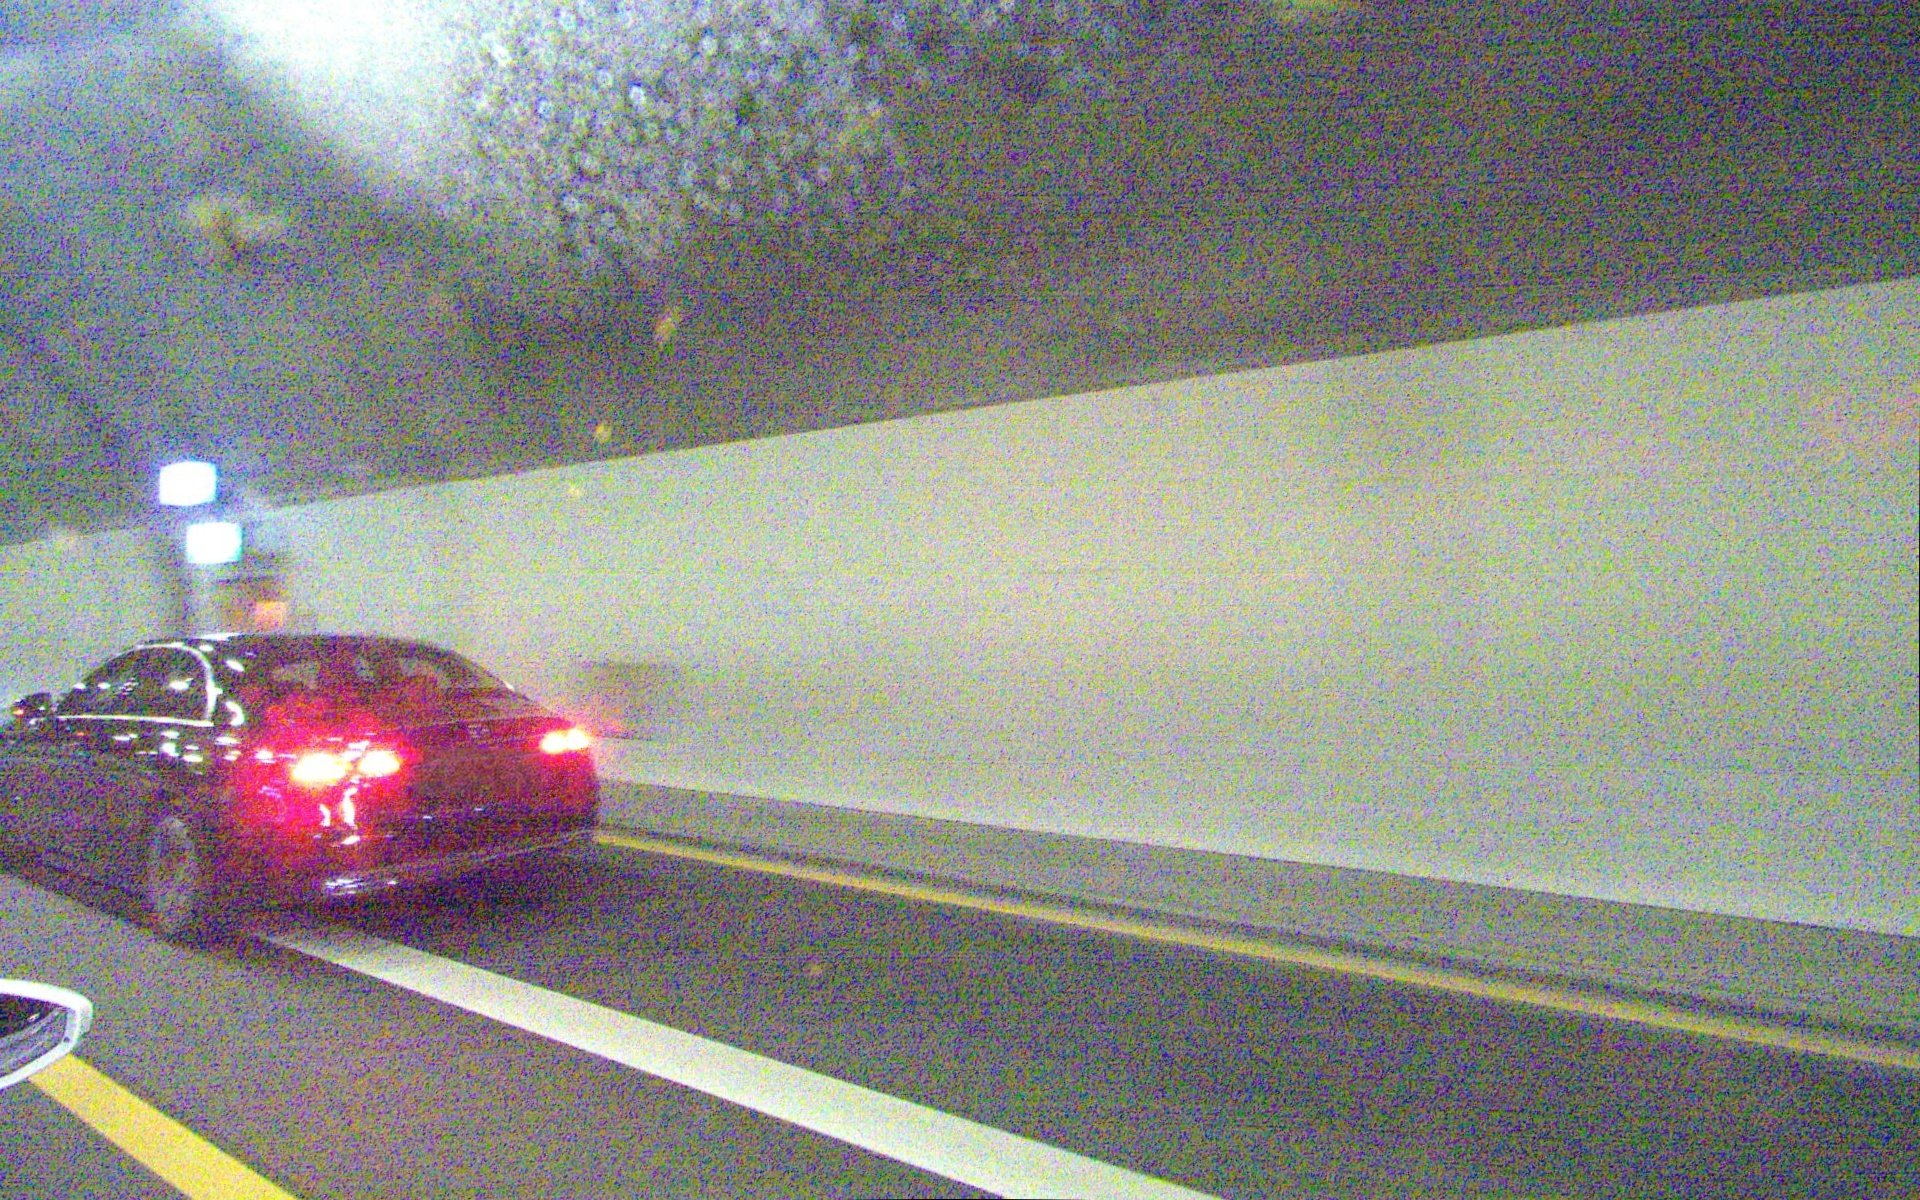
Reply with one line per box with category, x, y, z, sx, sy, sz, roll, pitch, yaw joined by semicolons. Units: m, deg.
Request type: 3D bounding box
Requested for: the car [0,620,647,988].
car;-4.357;0.919;6.214;4.884;1.491;1.923;-1;-3;33
